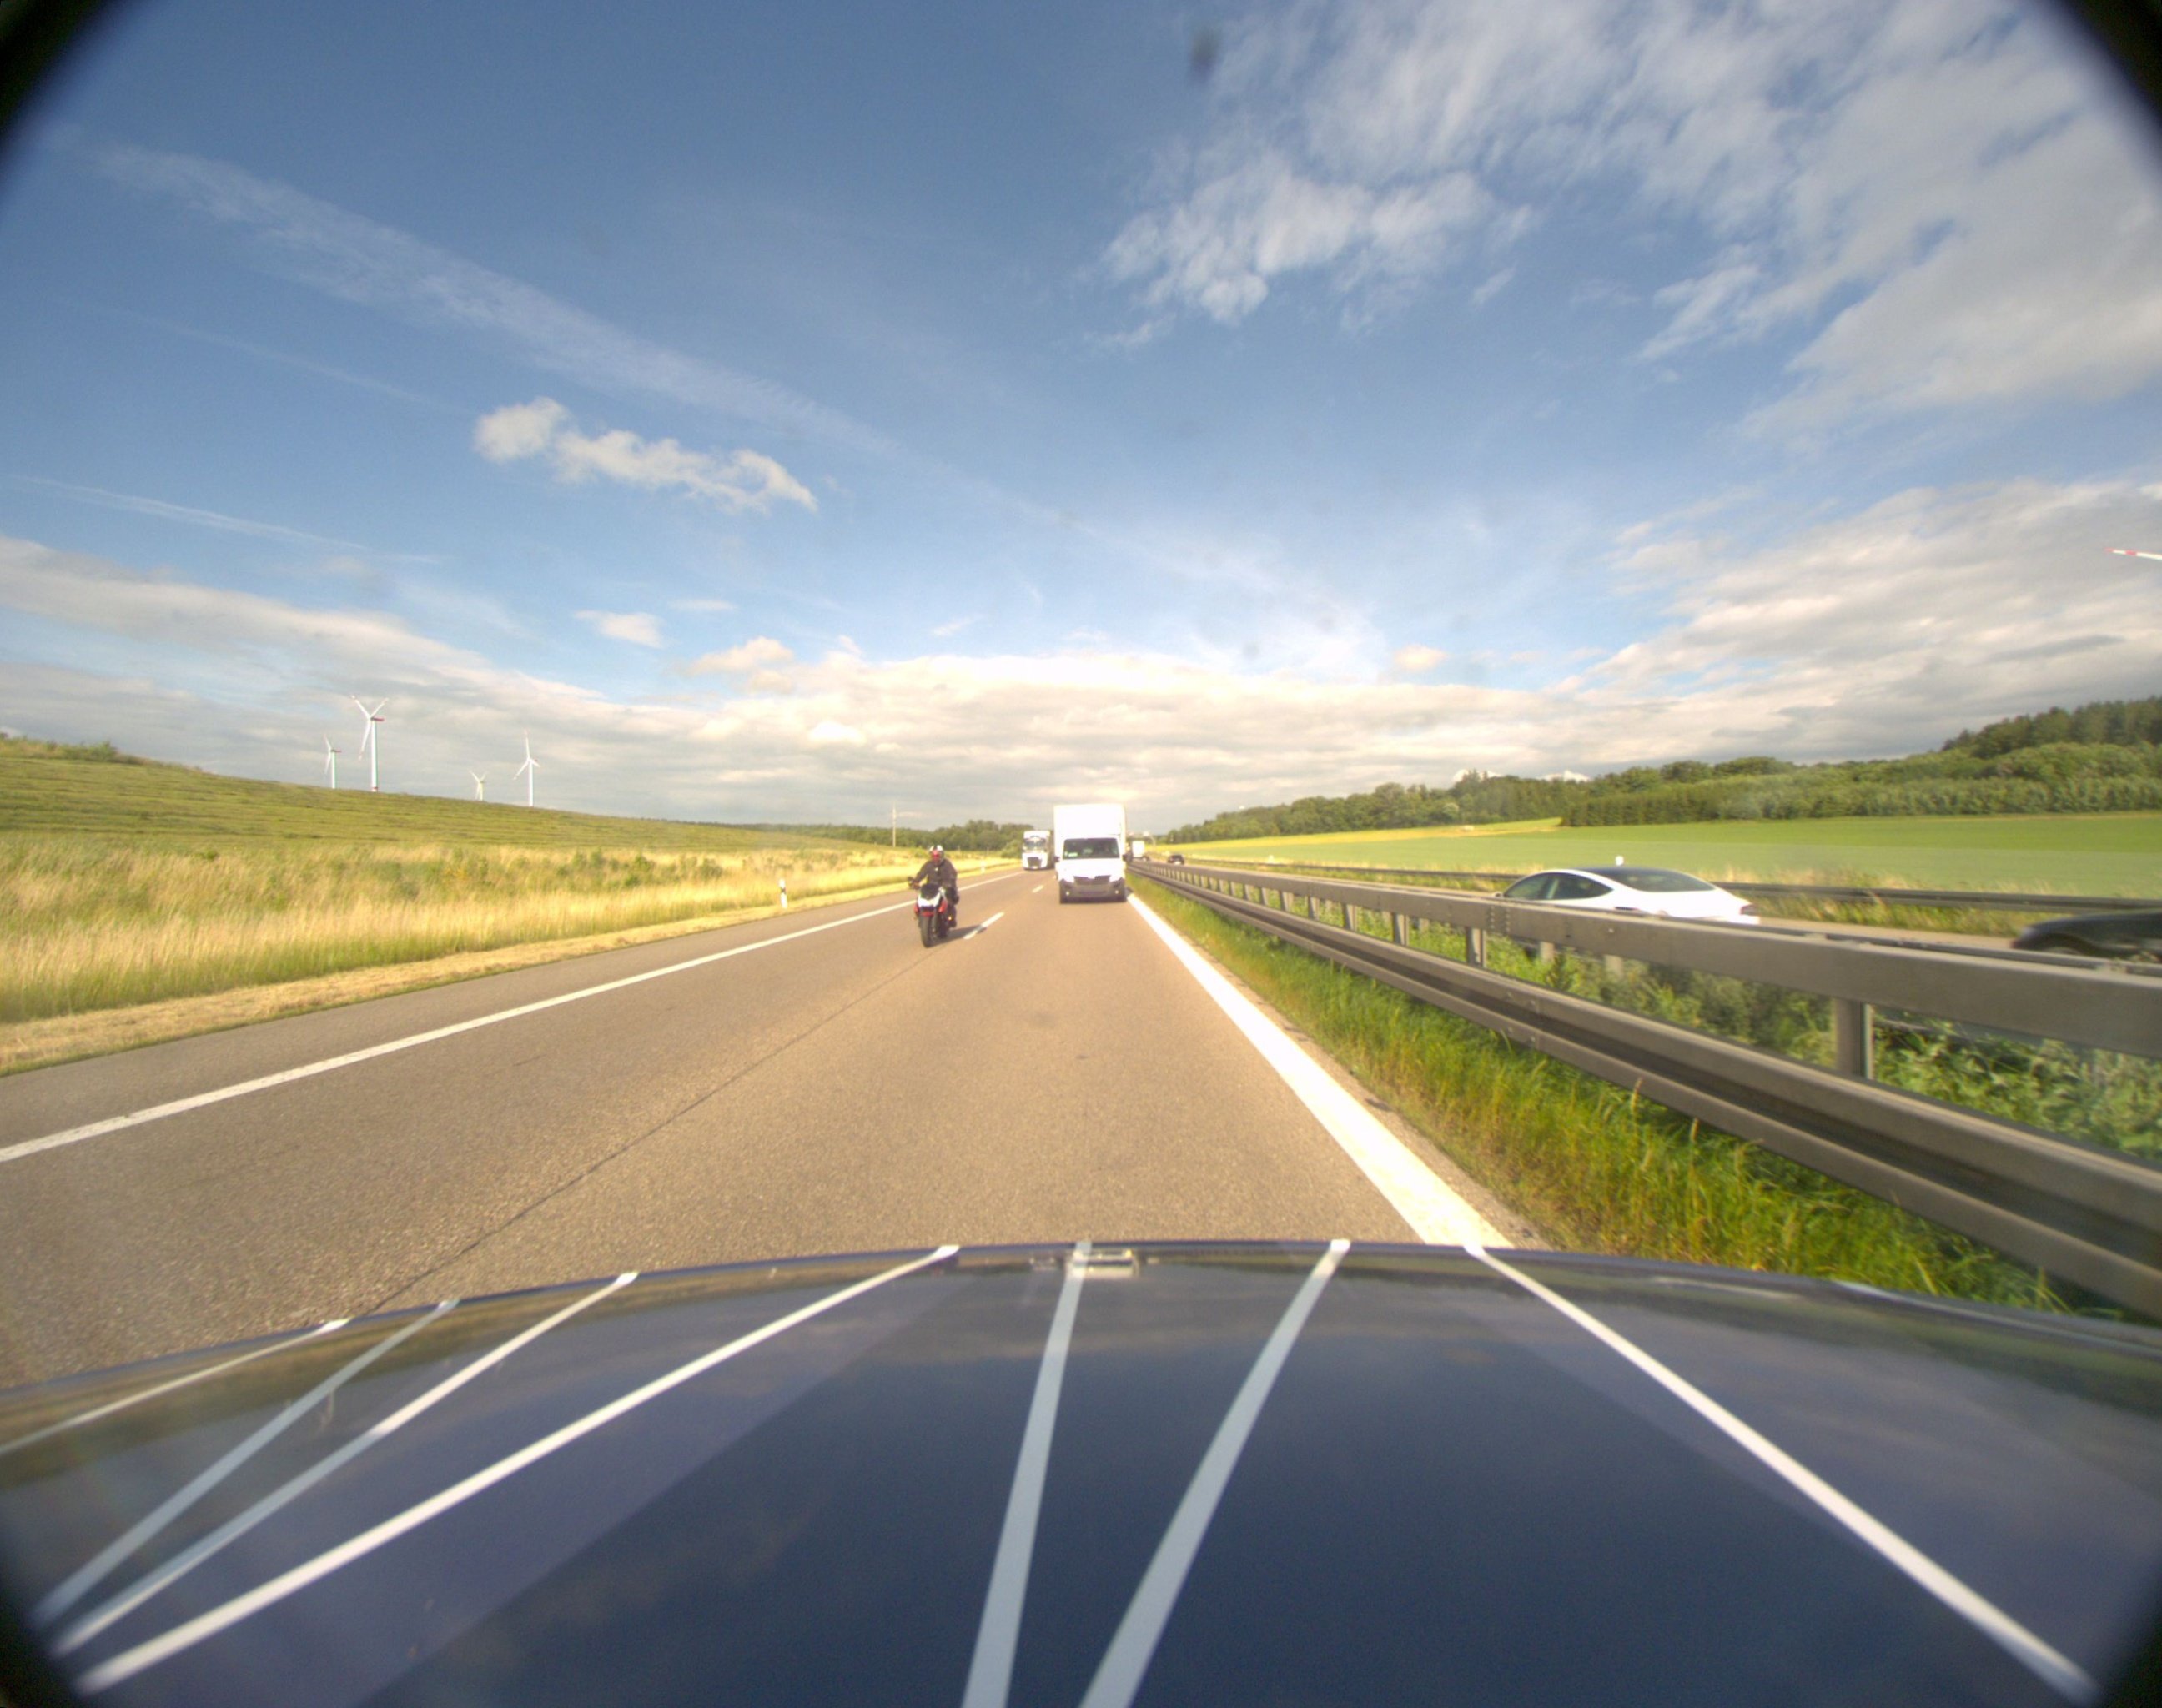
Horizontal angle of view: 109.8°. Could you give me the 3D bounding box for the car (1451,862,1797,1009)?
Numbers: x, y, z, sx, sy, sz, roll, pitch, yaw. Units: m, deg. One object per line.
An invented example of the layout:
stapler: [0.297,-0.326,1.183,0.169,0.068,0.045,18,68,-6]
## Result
car: [7.316,0.953,10.936,1.754,1.512,4.479,-2,1,0]

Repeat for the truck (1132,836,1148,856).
truck: [14.468,-2.100,186.621,2.887,4.608,13.421,-2,1,1]

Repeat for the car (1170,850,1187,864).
car: [12.048,0.344,94.060,1.619,1.512,3.999,-2,1,0]

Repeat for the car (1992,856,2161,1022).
car: [10.983,0.822,6.190,1.754,1.471,4.479,-2,1,0]

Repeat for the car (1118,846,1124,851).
car: [13.684,-1.884,259.073,1.684,1.576,4.215,-2,1,0]

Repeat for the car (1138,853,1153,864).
car: [8.581,0.590,101.543,1.619,1.384,3.999,-2,1,0]

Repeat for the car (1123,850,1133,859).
car: [9.232,0.133,149.412,1.619,1.576,4.064,-2,1,0]

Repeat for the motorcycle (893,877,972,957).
motorcycle: [-2.596,1.068,13.589,0.898,1.183,2.256,-2,1,1]

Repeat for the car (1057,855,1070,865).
car: [-2.693,0.935,117.461,1.871,1.409,4.461,-2,1,1]

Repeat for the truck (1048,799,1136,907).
truck: [0.338,-0.033,28.094,2.502,3.141,11.162,-2,0,0]

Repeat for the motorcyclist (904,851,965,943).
motorcyclist: [-2.608,0.743,13.627,0.852,1.551,0.934,-2,1,0]

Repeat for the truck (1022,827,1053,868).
truck: [-4.477,-0.660,79.575,2.607,4.017,6.119,-2,0,1]
